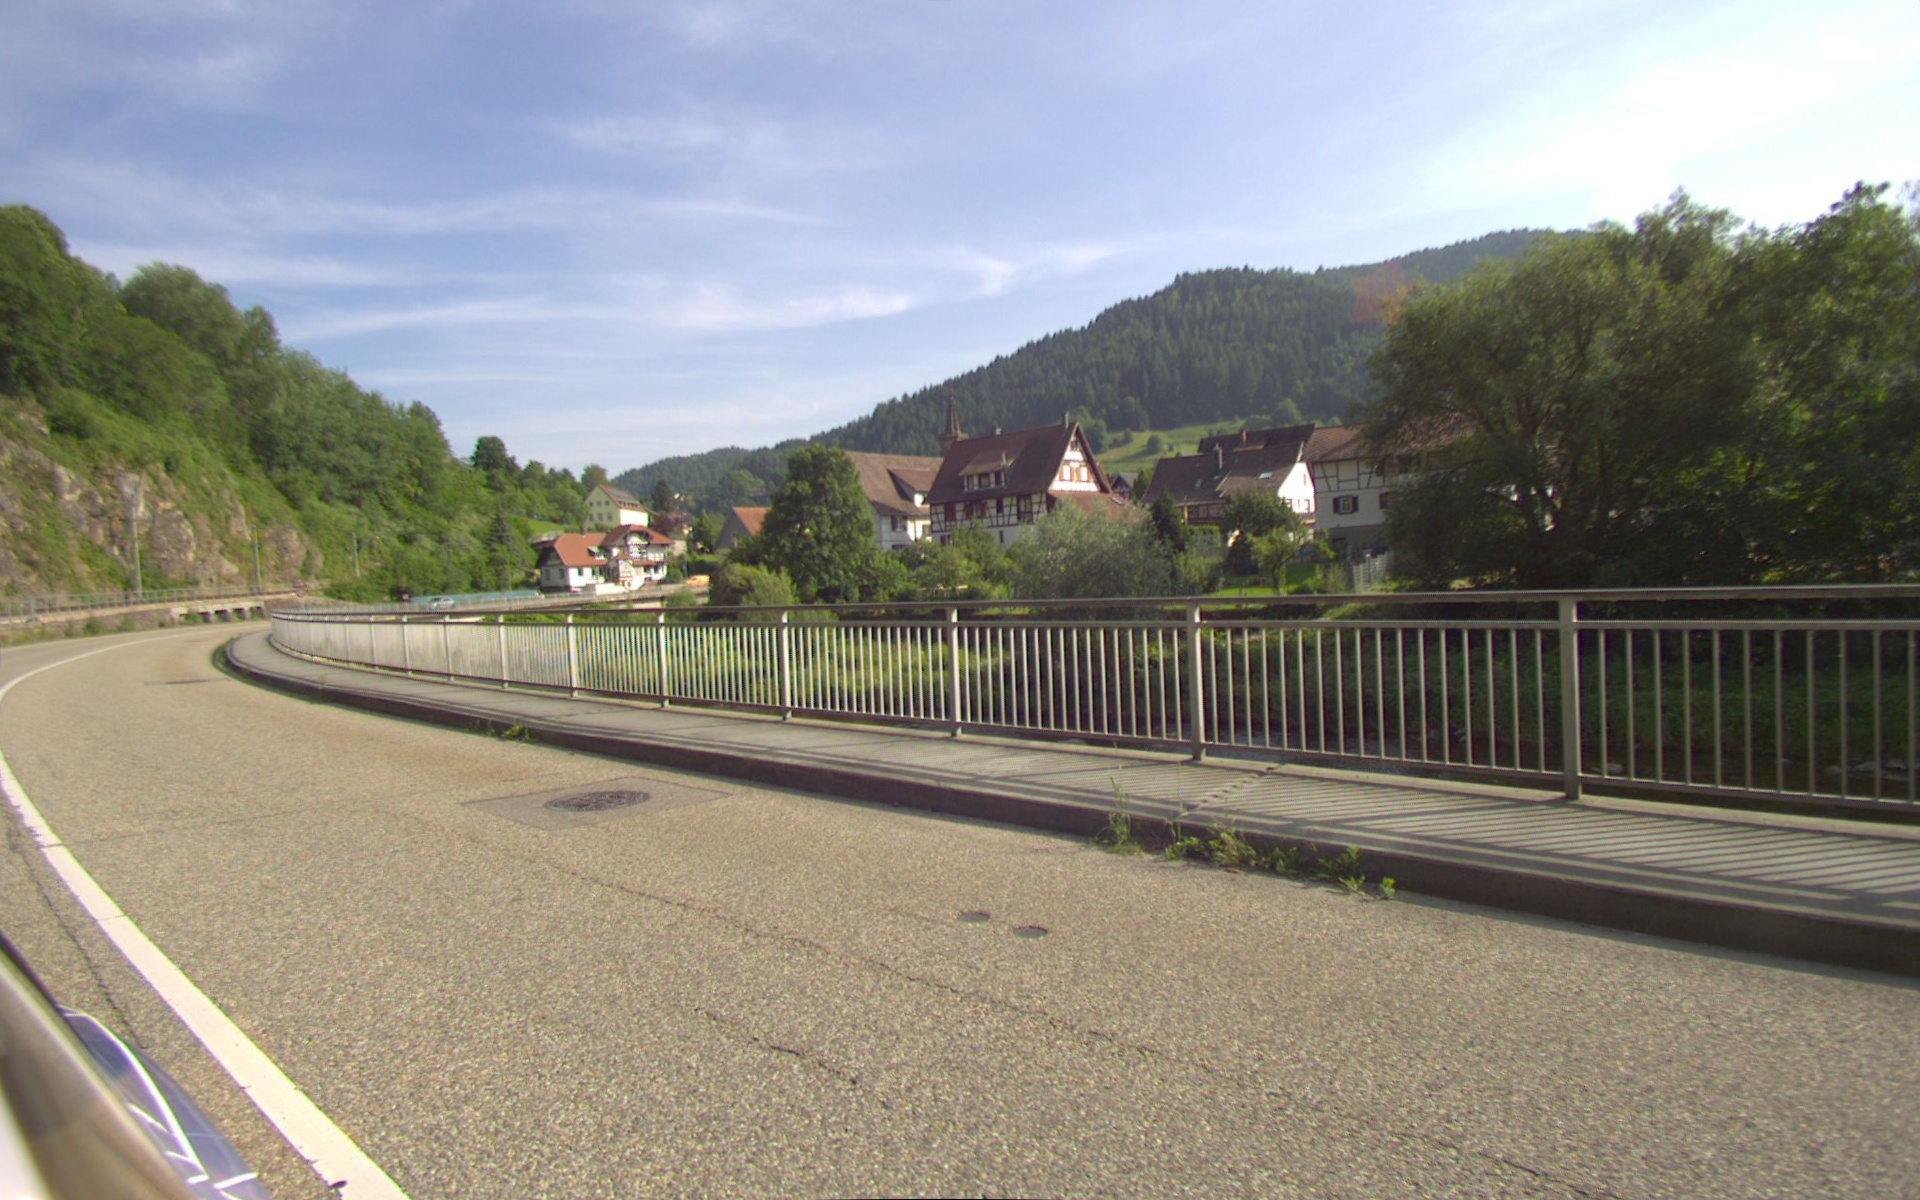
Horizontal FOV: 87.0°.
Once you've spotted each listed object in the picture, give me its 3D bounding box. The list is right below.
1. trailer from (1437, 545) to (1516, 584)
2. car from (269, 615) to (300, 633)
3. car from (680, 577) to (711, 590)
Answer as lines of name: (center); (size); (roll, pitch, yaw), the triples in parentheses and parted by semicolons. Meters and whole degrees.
trailer: (29.979, -2.021, 58.761); (3.982, 2.029, 1.981); (-1, -1, 29)
car: (-62.544, 2.251, 93.740); (1.675, 1.533, 3.483); (2, -4, -21)
car: (-44.831, -2.753, 171.665); (1.913, 2.013, 4.771); (0, -1, 39)
